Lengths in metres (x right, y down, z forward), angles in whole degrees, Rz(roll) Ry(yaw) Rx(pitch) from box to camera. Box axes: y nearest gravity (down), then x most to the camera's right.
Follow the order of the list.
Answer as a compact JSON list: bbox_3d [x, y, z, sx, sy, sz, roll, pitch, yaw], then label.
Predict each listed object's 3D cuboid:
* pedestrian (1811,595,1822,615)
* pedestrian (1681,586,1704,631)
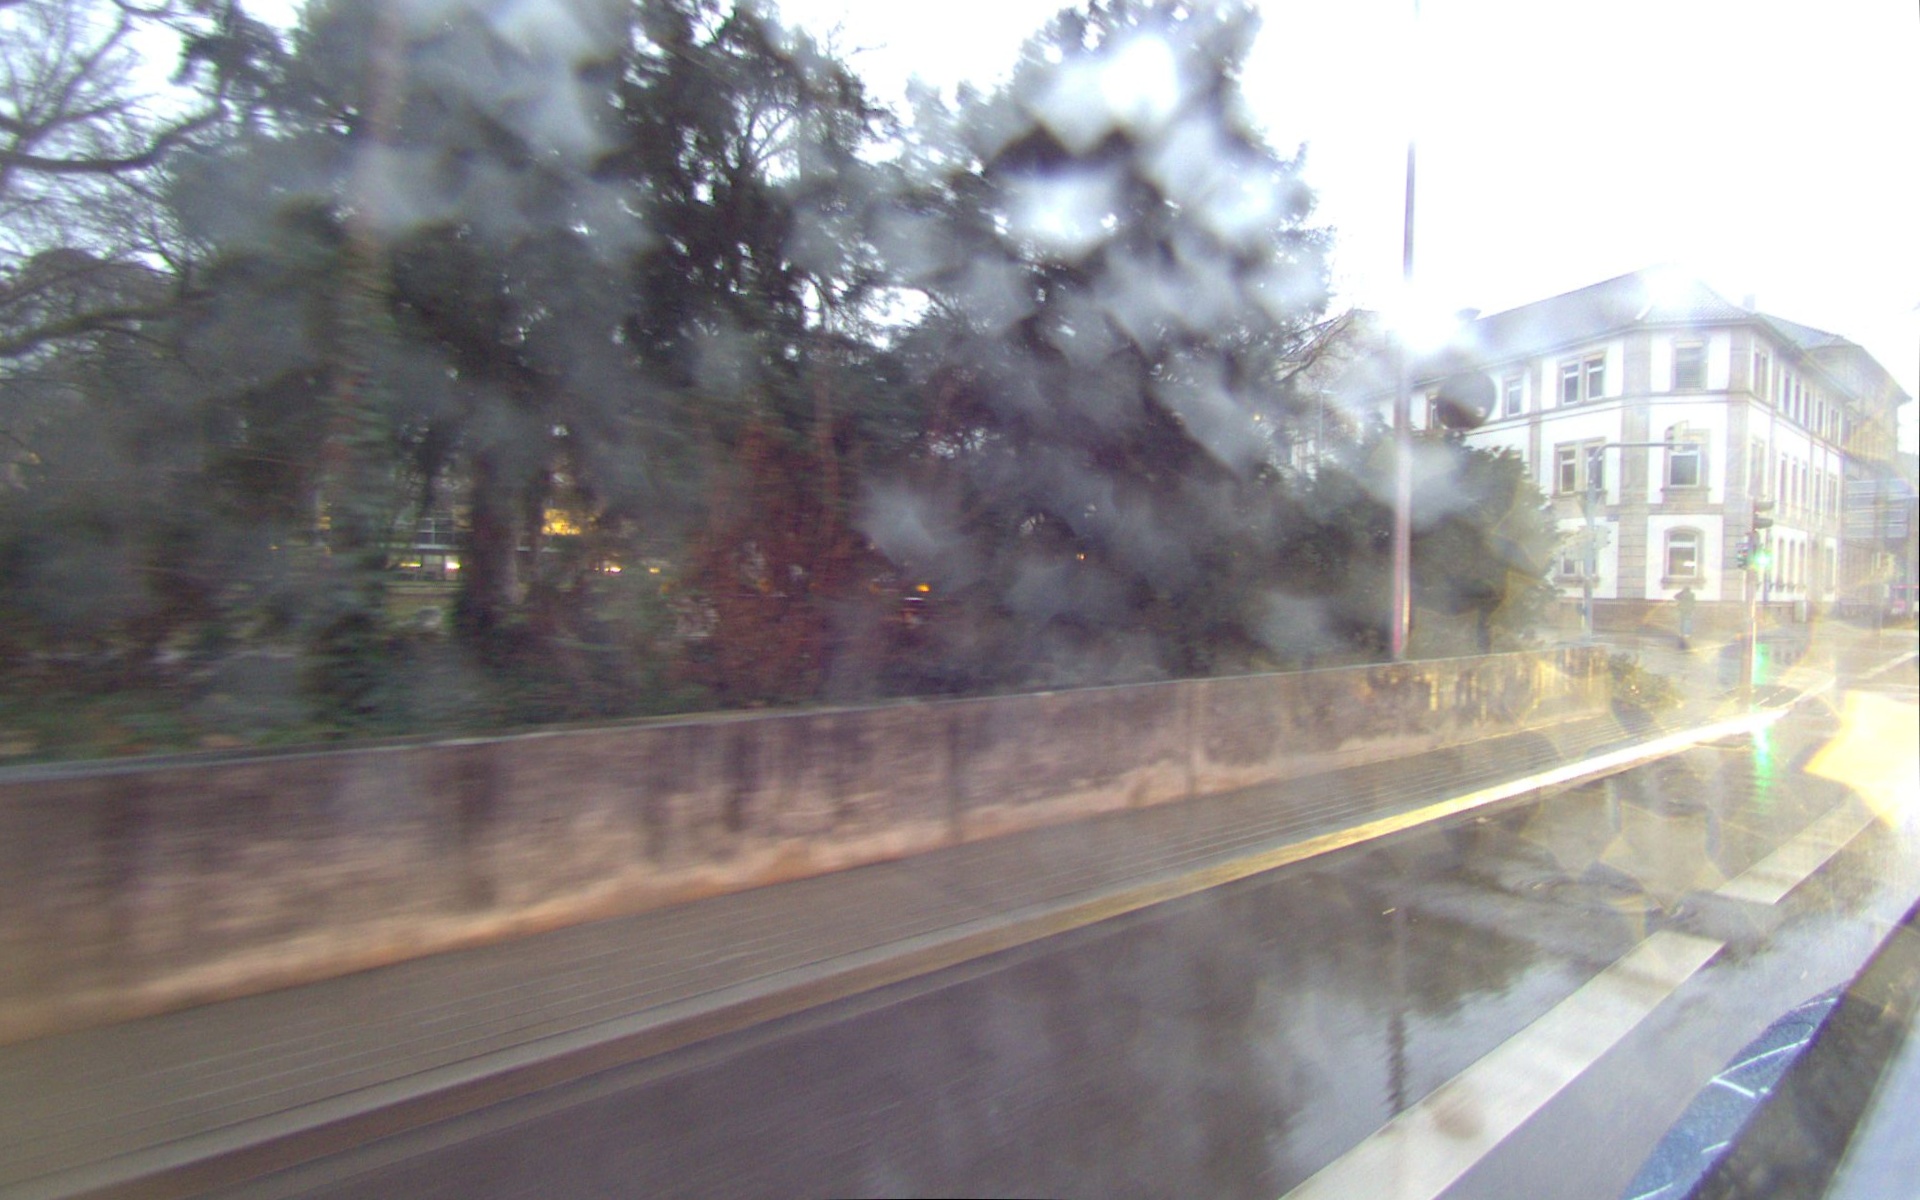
[{"bbox_3d":[39.958,0.210,47.226,0.370,0.917,0.325,0,1,-41],"label":"pedestrian"},{"bbox_3d":[24.915,0.282,34.441,0.516,1.529,0.582,2,0,27],"label":"pedestrian"}]
